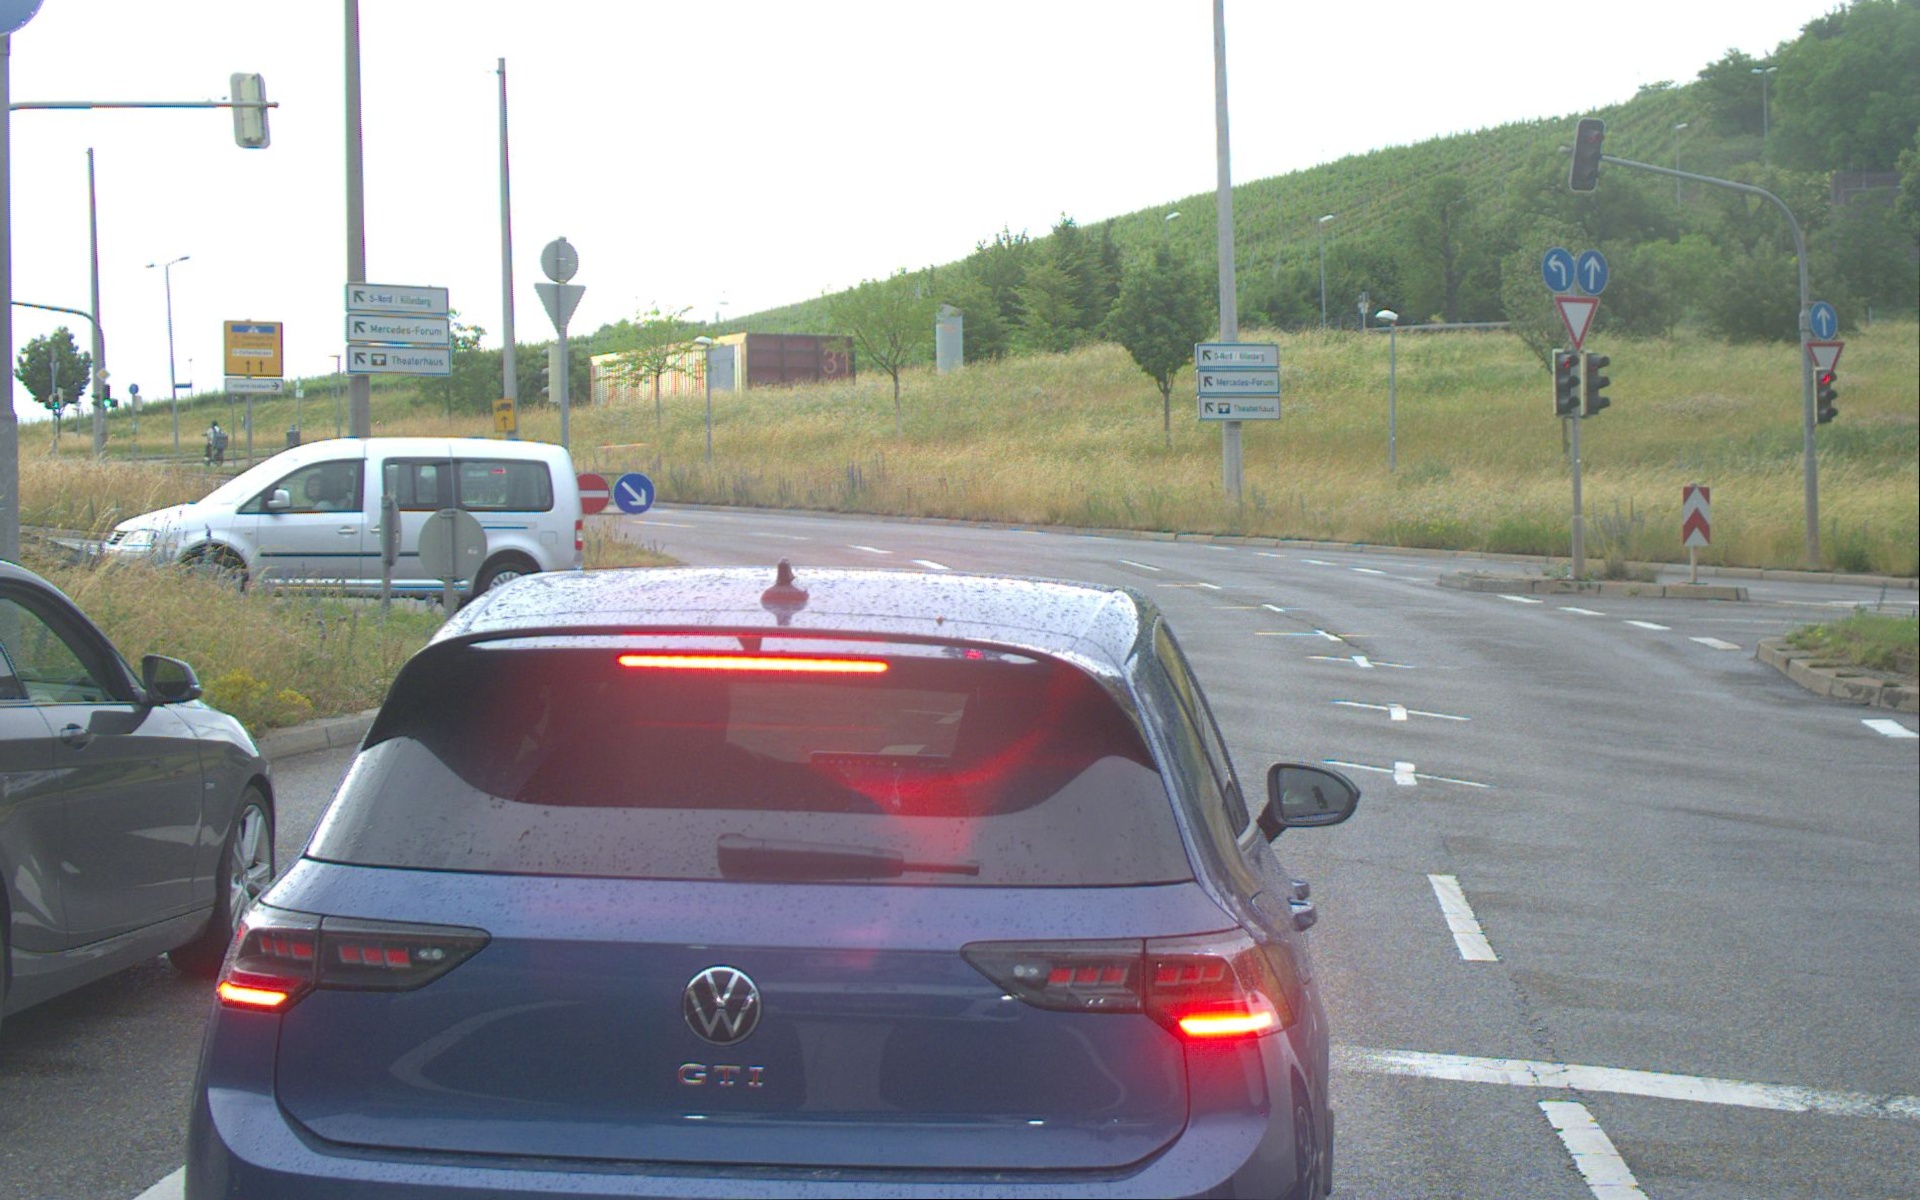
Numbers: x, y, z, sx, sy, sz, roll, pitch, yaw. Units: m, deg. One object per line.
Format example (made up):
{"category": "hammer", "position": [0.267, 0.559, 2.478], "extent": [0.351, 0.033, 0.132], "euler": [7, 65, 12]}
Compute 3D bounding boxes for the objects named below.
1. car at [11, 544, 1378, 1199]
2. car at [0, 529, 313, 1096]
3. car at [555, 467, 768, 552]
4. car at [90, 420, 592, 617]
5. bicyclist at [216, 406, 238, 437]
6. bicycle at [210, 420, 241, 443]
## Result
{"category": "car", "position": [-0.211, 0.630, 6.456], "extent": [1.825, 1.455, 3.808], "euler": [0, 1, 5]}
{"category": "car", "position": [-3.244, 0.530, 9.776], "extent": [1.703, 1.454, 4.114], "euler": [0, 1, 5]}
{"category": "car", "position": [-5.995, -1.815, 68.433], "extent": [1.994, 1.612, 4.851], "euler": [0, 2, -36]}
{"category": "car", "position": [-6.233, -0.785, 34.611], "extent": [4.681, 1.844, 1.822], "euler": [1, 0, -22]}
{"category": "bicyclist", "position": [-25.875, -6.296, 121.404], "extent": [0.523, 1.043, 0.580], "euler": [3, 1, -32]}
{"category": "bicycle", "position": [-25.978, -5.950, 121.565], "extent": [0.518, 0.772, 1.621], "euler": [1, 1, -33]}
